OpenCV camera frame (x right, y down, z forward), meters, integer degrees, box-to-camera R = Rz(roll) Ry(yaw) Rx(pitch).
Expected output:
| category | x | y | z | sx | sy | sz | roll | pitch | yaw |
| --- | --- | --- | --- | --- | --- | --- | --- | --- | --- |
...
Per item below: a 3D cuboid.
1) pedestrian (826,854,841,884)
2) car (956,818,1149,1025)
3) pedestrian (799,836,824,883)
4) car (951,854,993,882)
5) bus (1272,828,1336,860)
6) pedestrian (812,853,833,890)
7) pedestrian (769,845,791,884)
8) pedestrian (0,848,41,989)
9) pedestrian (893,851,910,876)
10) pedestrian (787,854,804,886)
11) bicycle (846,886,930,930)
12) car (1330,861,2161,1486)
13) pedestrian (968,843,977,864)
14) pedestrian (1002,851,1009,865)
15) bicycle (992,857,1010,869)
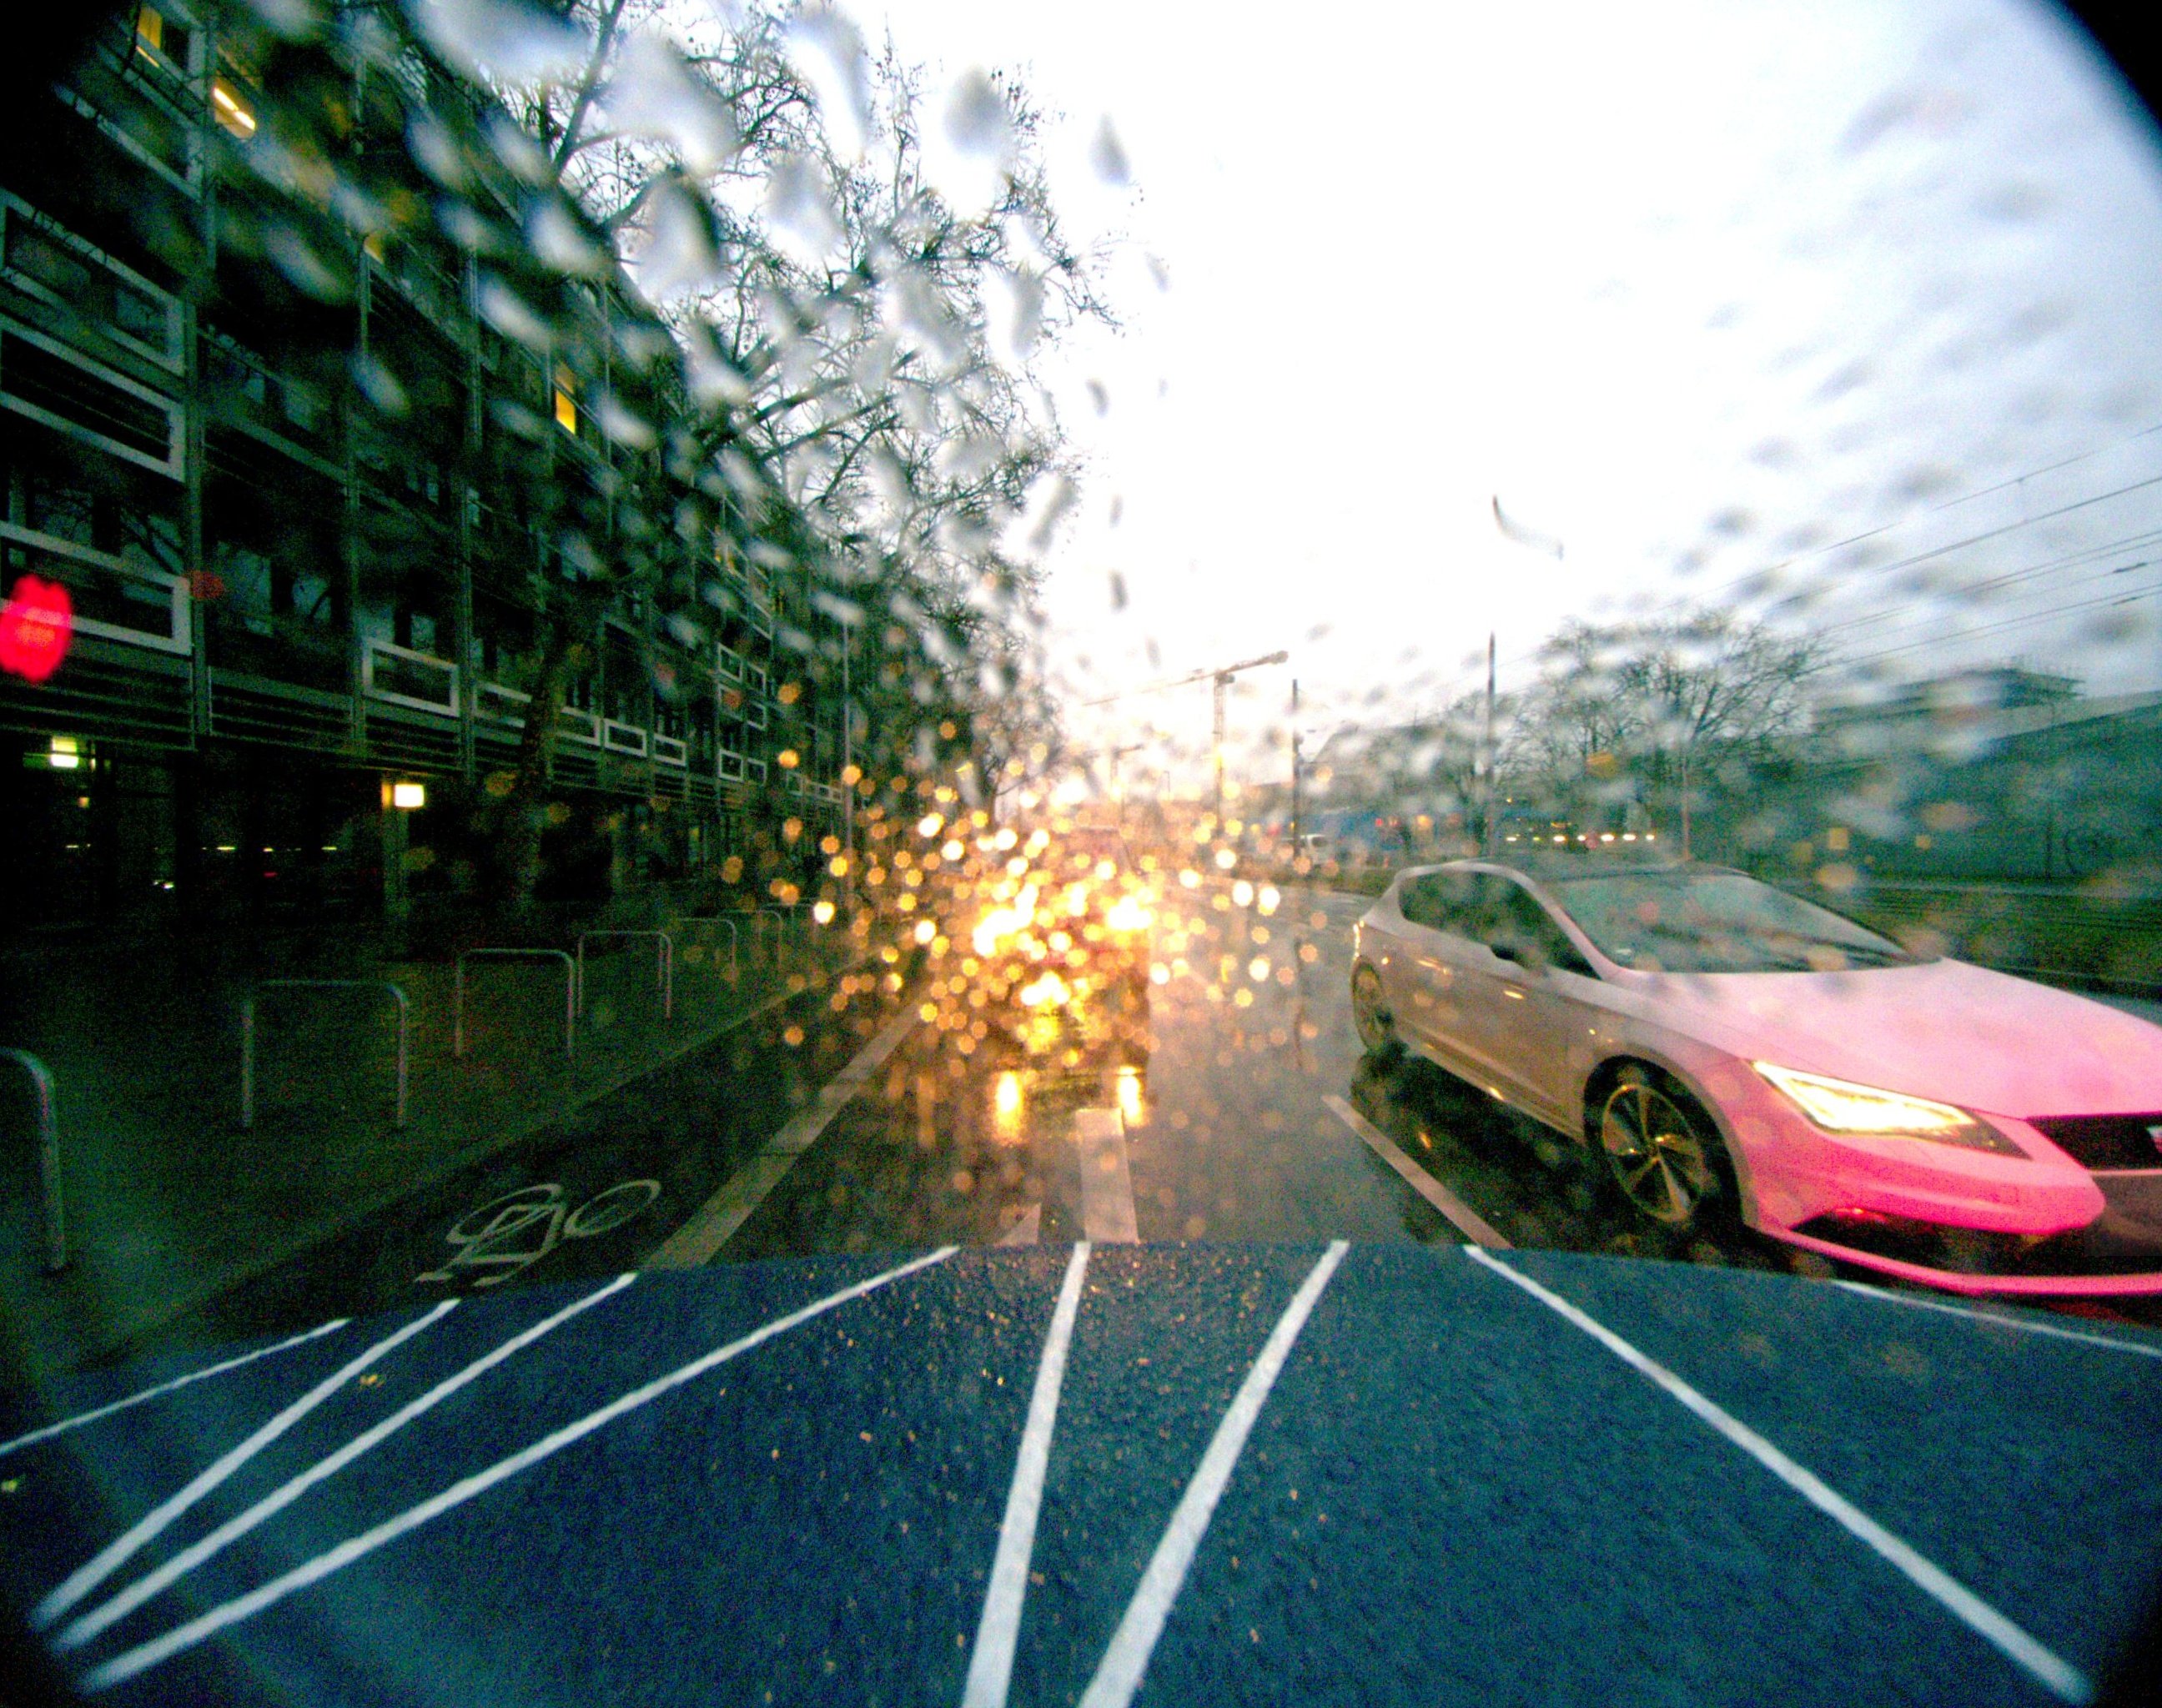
| category | x | y | z | sx | sy | sz | roll | pitch | yaw |
| --- | --- | --- | --- | --- | --- | --- | --- | --- | --- |
| pedestrian | -13.627 | 0.817 | 41.896 | 0.642 | 1.645 | 0.842 | -1 | 1 | -10 |
| car | -0.245 | 0.642 | 9.362 | 1.858 | 2.002 | 4.000 | 0 | 1 | 1 |
| pedestrian | -11.695 | 0.234 | 32.951 | 0.822 | 2.002 | 0.735 | -1 | 1 | -2 |
| car | -6.170 | 0.785 | 43.374 | 1.608 | 1.424 | 3.930 | 2 | 1 | 2 |
| bus | 26.200 | -1.124 | 90.069 | 2.815 | 3.557 | 12.298 | -1 | 0 | -6 |
| pedestrian | -10.951 | 0.721 | 32.185 | 0.649 | 1.535 | 0.615 | 0 | 1 | 1 |
| pedestrian | -13.141 | 0.451 | 33.237 | 0.617 | 1.647 | 0.780 | -1 | 1 | 1 |
| pedestrian | -12.928 | 0.760 | 8.803 | 0.501 | 1.658 | 0.873 | 0 | 1 | 1 |
| pedestrian | -11.001 | 0.586 | 46.587 | 0.866 | 1.515 | 0.837 | -1 | 1 | -2 |
| pedestrian | -12.422 | 0.689 | 33.019 | 0.493 | 1.361 | 0.502 | 0 | 1 | 5 |
| bicycle | -4.450 | 1.246 | 17.606 | 1.792 | 0.968 | 0.617 | 1 | 1 | -4 |
| car | 2.943 | 0.820 | 3.987 | 1.778 | 1.466 | 4.128 | -1 | 0 | -2 |
| pedestrian | -10.503 | -0.020 | 73.547 | 0.791 | 2.002 | 1.024 | -1 | 1 | 0 |
| pedestrian | -10.848 | 0.565 | 108.942 | 0.838 | 2.002 | 0.771 | -2 | 2 | -1 |
| bicycle | -7.209 | 0.808 | 68.310 | 1.523 | 1.030 | 0.469 | -2 | 1 | -7 |
